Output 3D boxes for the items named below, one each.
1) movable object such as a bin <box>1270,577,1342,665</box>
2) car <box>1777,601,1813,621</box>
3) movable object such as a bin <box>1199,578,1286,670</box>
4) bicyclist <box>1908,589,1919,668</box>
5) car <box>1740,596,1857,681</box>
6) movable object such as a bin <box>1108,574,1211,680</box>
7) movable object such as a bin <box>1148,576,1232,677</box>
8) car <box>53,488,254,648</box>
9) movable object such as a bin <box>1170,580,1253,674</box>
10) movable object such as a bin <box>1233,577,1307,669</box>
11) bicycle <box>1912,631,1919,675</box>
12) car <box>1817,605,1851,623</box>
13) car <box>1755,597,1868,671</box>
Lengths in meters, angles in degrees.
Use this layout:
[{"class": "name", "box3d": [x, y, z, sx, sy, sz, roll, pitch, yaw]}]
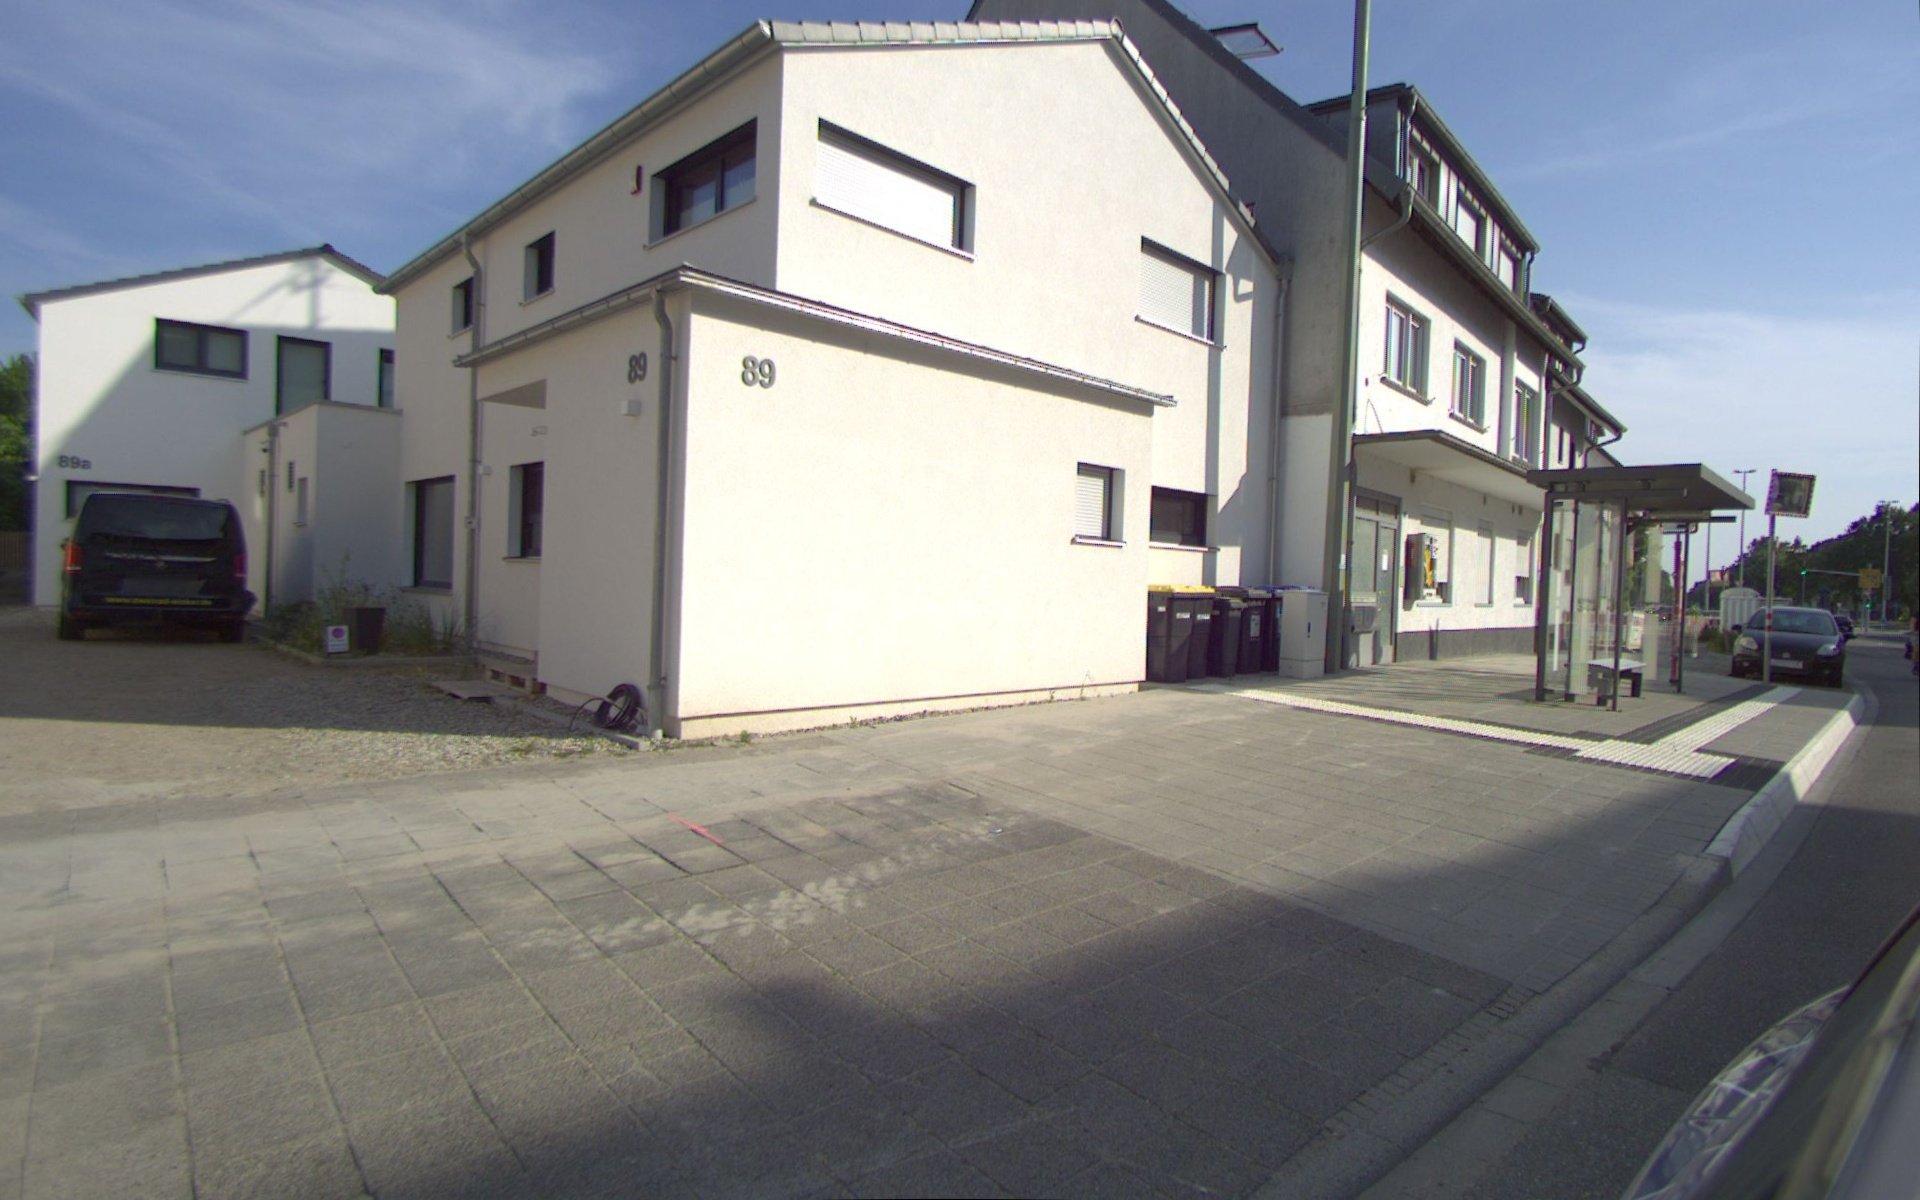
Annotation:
[{"class": "movable object such as a bin", "box3d": [4.609, 0.266, 13.482, 0.549, 1.106, 0.697, 0, 2, -43]}, {"class": "car", "box3d": [68.817, 0.851, 83.432, 1.971, 1.548, 3.949, 2, 1, 35]}, {"class": "movable object such as a bin", "box3d": [3.496, 0.283, 12.540, 0.592, 1.072, 0.813, 0, 2, -43]}, {"class": "bicyclist", "box3d": [21.103, 0.620, 21.872, 0.843, 1.710, 0.864, 2, 1, 43]}, {"class": "car", "box3d": [16.659, 0.682, 20.056, 1.607, 1.438, 3.861, 4, 2, 41]}, {"class": "movable object such as a bin", "box3d": [2.242, 0.280, 11.380, 0.755, 1.106, 0.813, 0, 2, -44]}, {"class": "movable object such as a bin", "box3d": [2.675, 0.287, 11.812, 0.435, 1.106, 0.813, 1, 2, -43]}, {"class": "car", "box3d": [-11.064, -0.454, 13.872, 1.889, 1.869, 3.832, 1, 2, -40]}, {"class": "movable object such as a bin", "box3d": [3.007, 0.306, 12.138, 0.462, 1.049, 0.813, 1, 2, -43]}, {"class": "movable object such as a bin", "box3d": [3.963, 0.281, 12.939, 0.696, 1.106, 0.550, 3, 2, 44]}, {"class": "bicycle", "box3d": [21.057, 1.148, 21.842, 0.678, 0.865, 1.996, 2, 1, 42]}, {"class": "car", "box3d": [75.200, 1.146, 87.125, 1.785, 1.460, 3.949, 1, 1, 35]}, {"class": "car", "box3d": [19.846, 0.729, 23.734, 1.713, 1.414, 4.275, 7, 4, 37]}]
